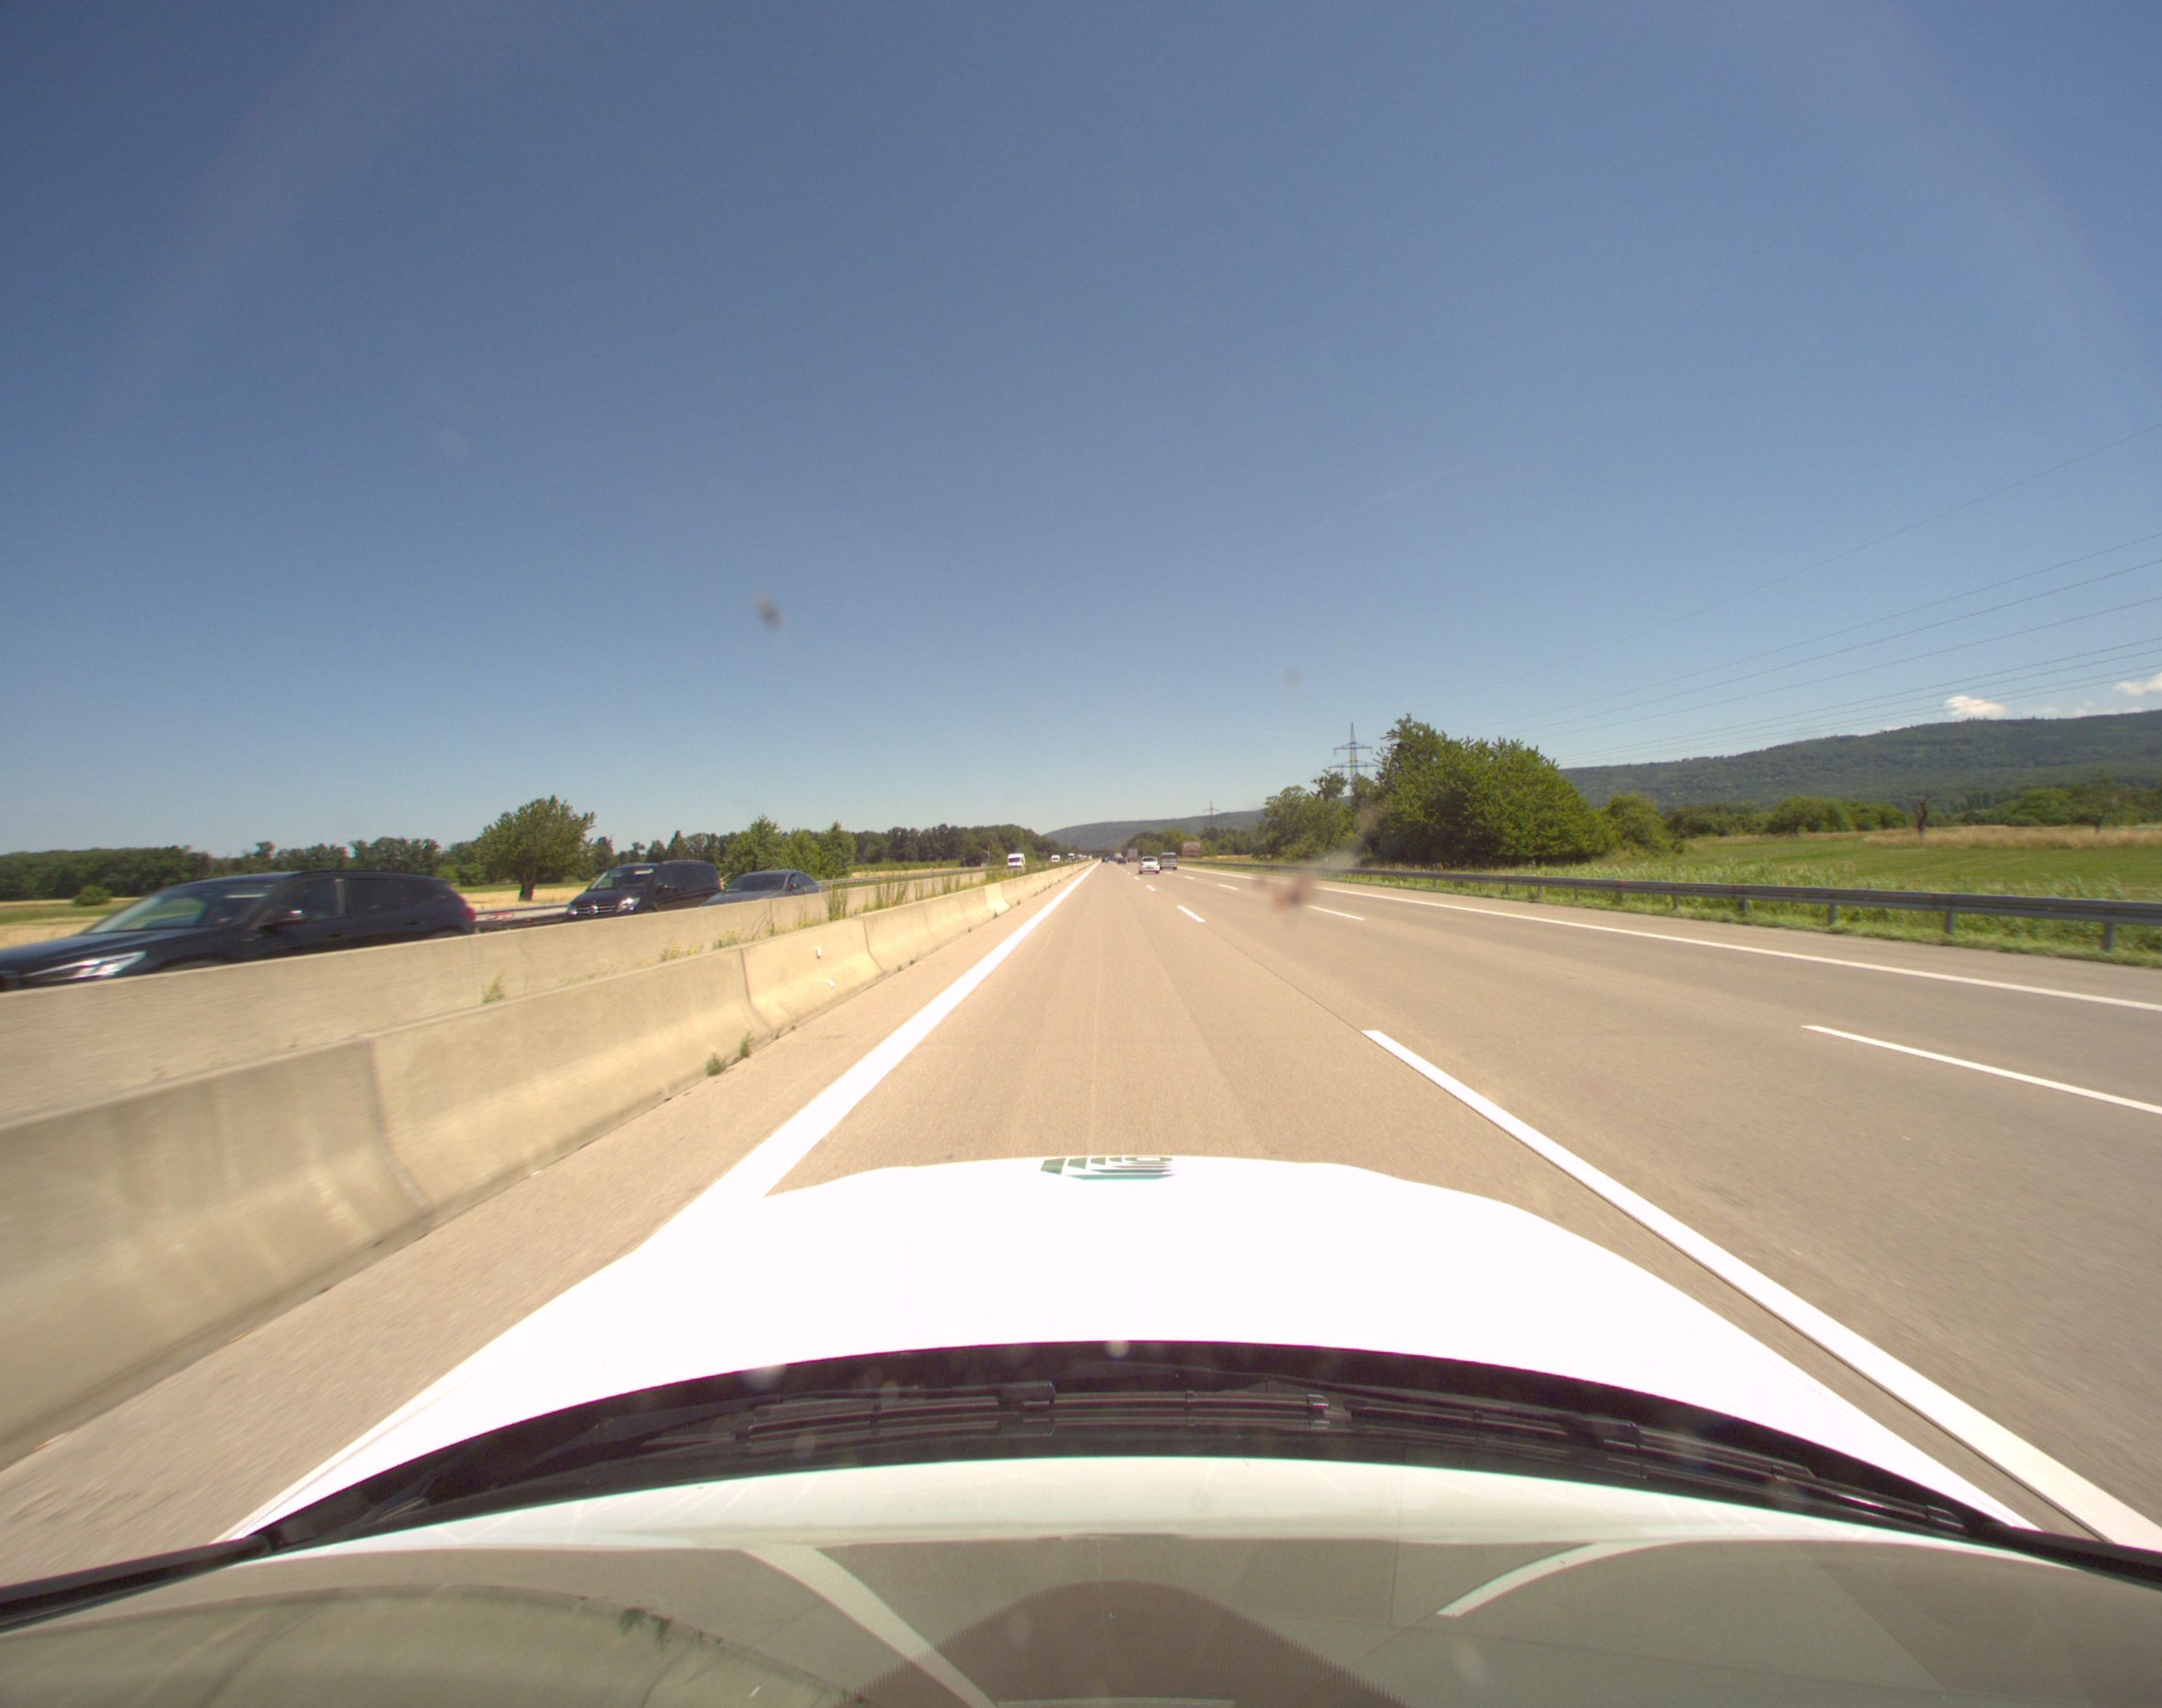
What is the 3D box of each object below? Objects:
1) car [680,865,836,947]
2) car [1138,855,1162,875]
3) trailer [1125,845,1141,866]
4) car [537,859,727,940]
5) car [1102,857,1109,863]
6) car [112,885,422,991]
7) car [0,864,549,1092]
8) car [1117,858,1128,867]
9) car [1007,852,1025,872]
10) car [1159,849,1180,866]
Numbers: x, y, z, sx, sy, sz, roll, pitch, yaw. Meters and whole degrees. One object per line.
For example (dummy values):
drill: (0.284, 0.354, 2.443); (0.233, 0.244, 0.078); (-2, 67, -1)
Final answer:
car: (-7.582, 1.155, 19.587); (1.985, 1.717, 4.003); (0, 0, 3)
car: (6.048, 0.981, 71.996); (1.813, 1.662, 4.001); (-1, 0, 1)
trailer: (14.889, 0.549, 233.818); (3.709, 5.811, 12.160); (0, 0, 0)
car: (-11.701, 1.098, 21.768); (1.985, 1.878, 5.187); (0, 0, 3)
car: (7.109, 1.634, 234.242); (1.922, 1.794, 4.001); (0, 0, 1)
car: (-16.268, 1.577, 16.689); (1.987, 1.717, 4.301); (0, 0, 0)
car: (-8.543, 0.998, 8.874); (1.985, 1.717, 5.033); (0, 0, 3)
car: (8.800, 1.846, 172.404); (1.987, 1.849, 4.000); (1, 0, 0)
car: (-9.376, 1.175, 117.334); (2.258, 2.788, 7.065); (0, 0, -2)
car: (9.988, 0.372, 92.072); (1.986, 1.849, 4.001); (0, 0, 1)
